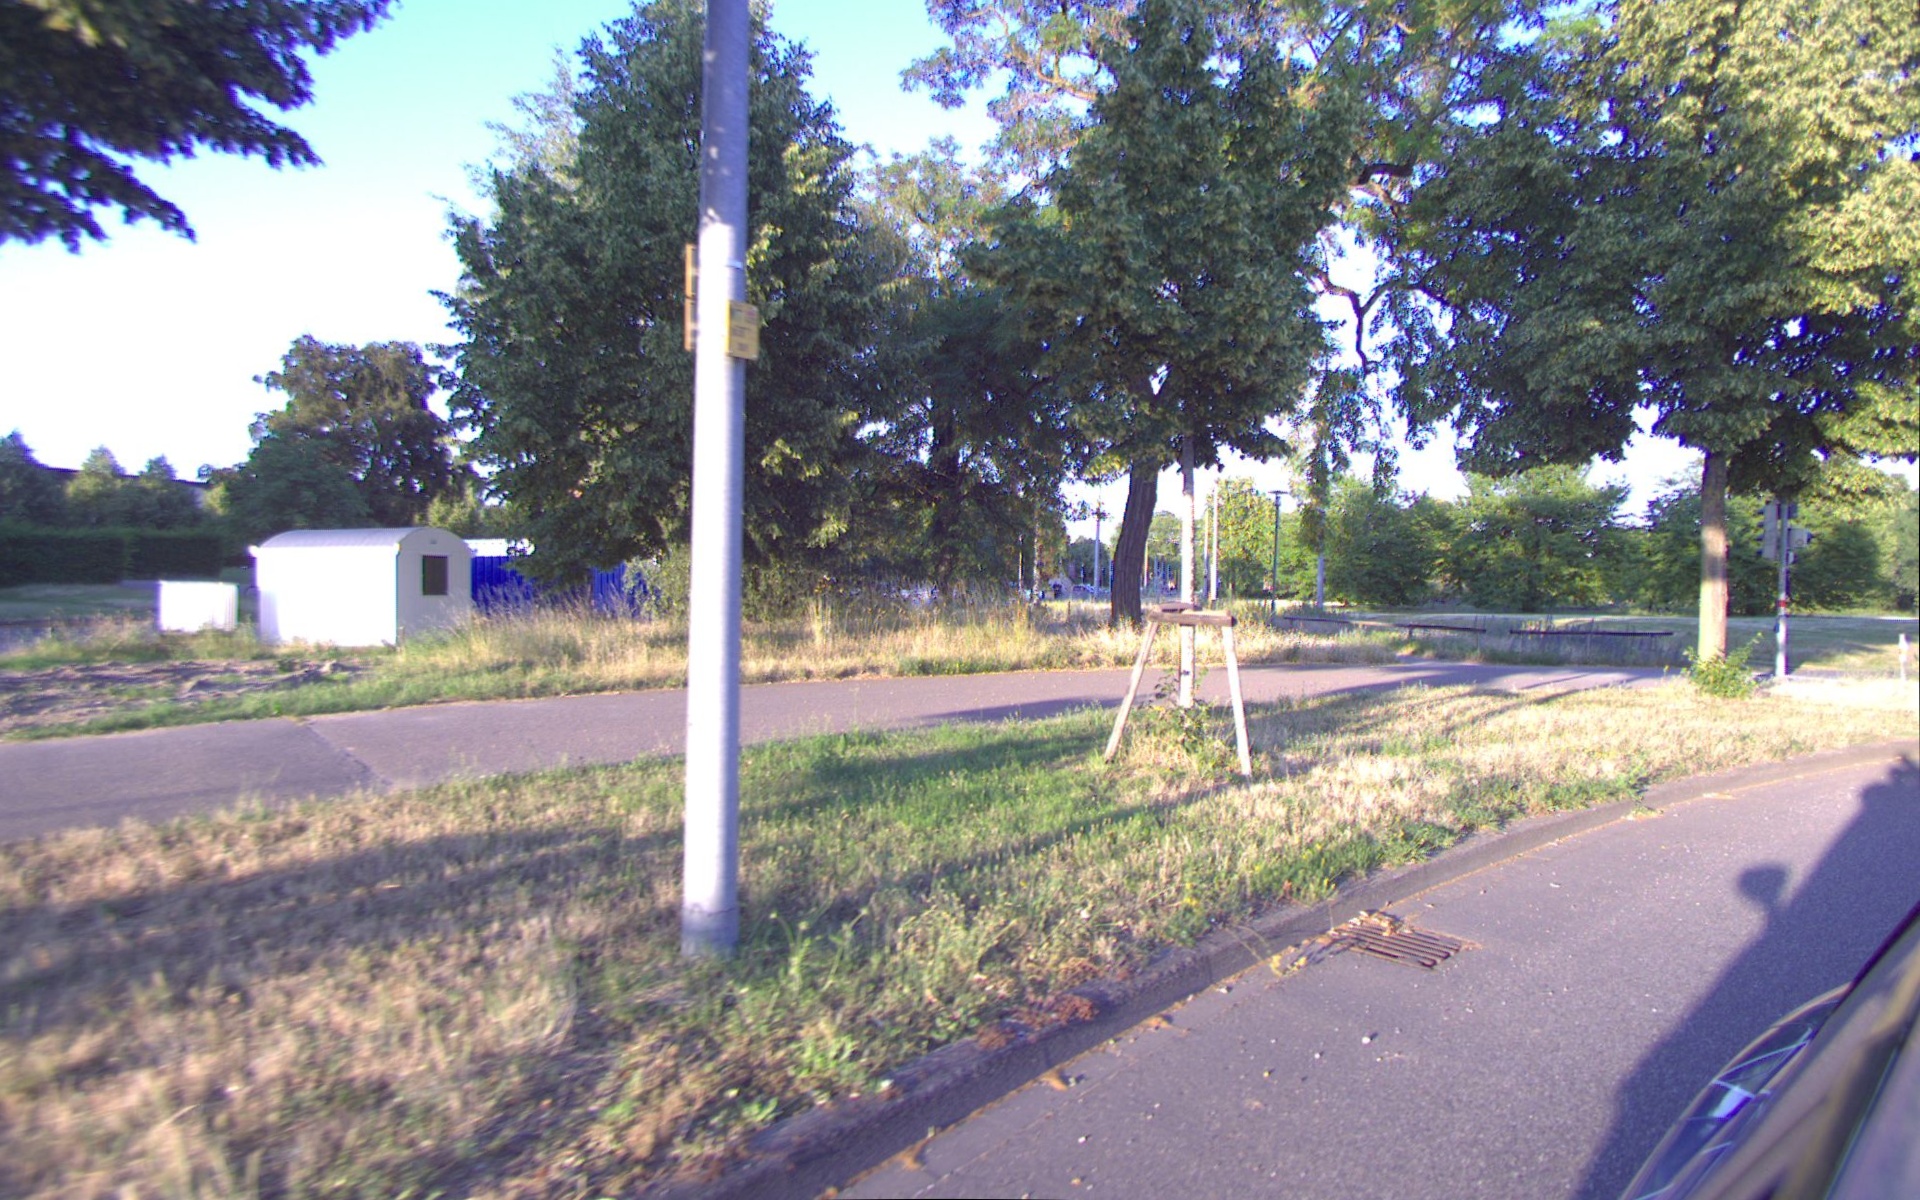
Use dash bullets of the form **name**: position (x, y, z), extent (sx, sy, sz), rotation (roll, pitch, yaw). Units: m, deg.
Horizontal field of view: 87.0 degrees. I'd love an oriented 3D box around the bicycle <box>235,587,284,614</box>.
- **bicycle**: position (-25.682, 0.022, 37.107), extent (1.822, 0.890, 0.403), rotation (3, 1, 15)
